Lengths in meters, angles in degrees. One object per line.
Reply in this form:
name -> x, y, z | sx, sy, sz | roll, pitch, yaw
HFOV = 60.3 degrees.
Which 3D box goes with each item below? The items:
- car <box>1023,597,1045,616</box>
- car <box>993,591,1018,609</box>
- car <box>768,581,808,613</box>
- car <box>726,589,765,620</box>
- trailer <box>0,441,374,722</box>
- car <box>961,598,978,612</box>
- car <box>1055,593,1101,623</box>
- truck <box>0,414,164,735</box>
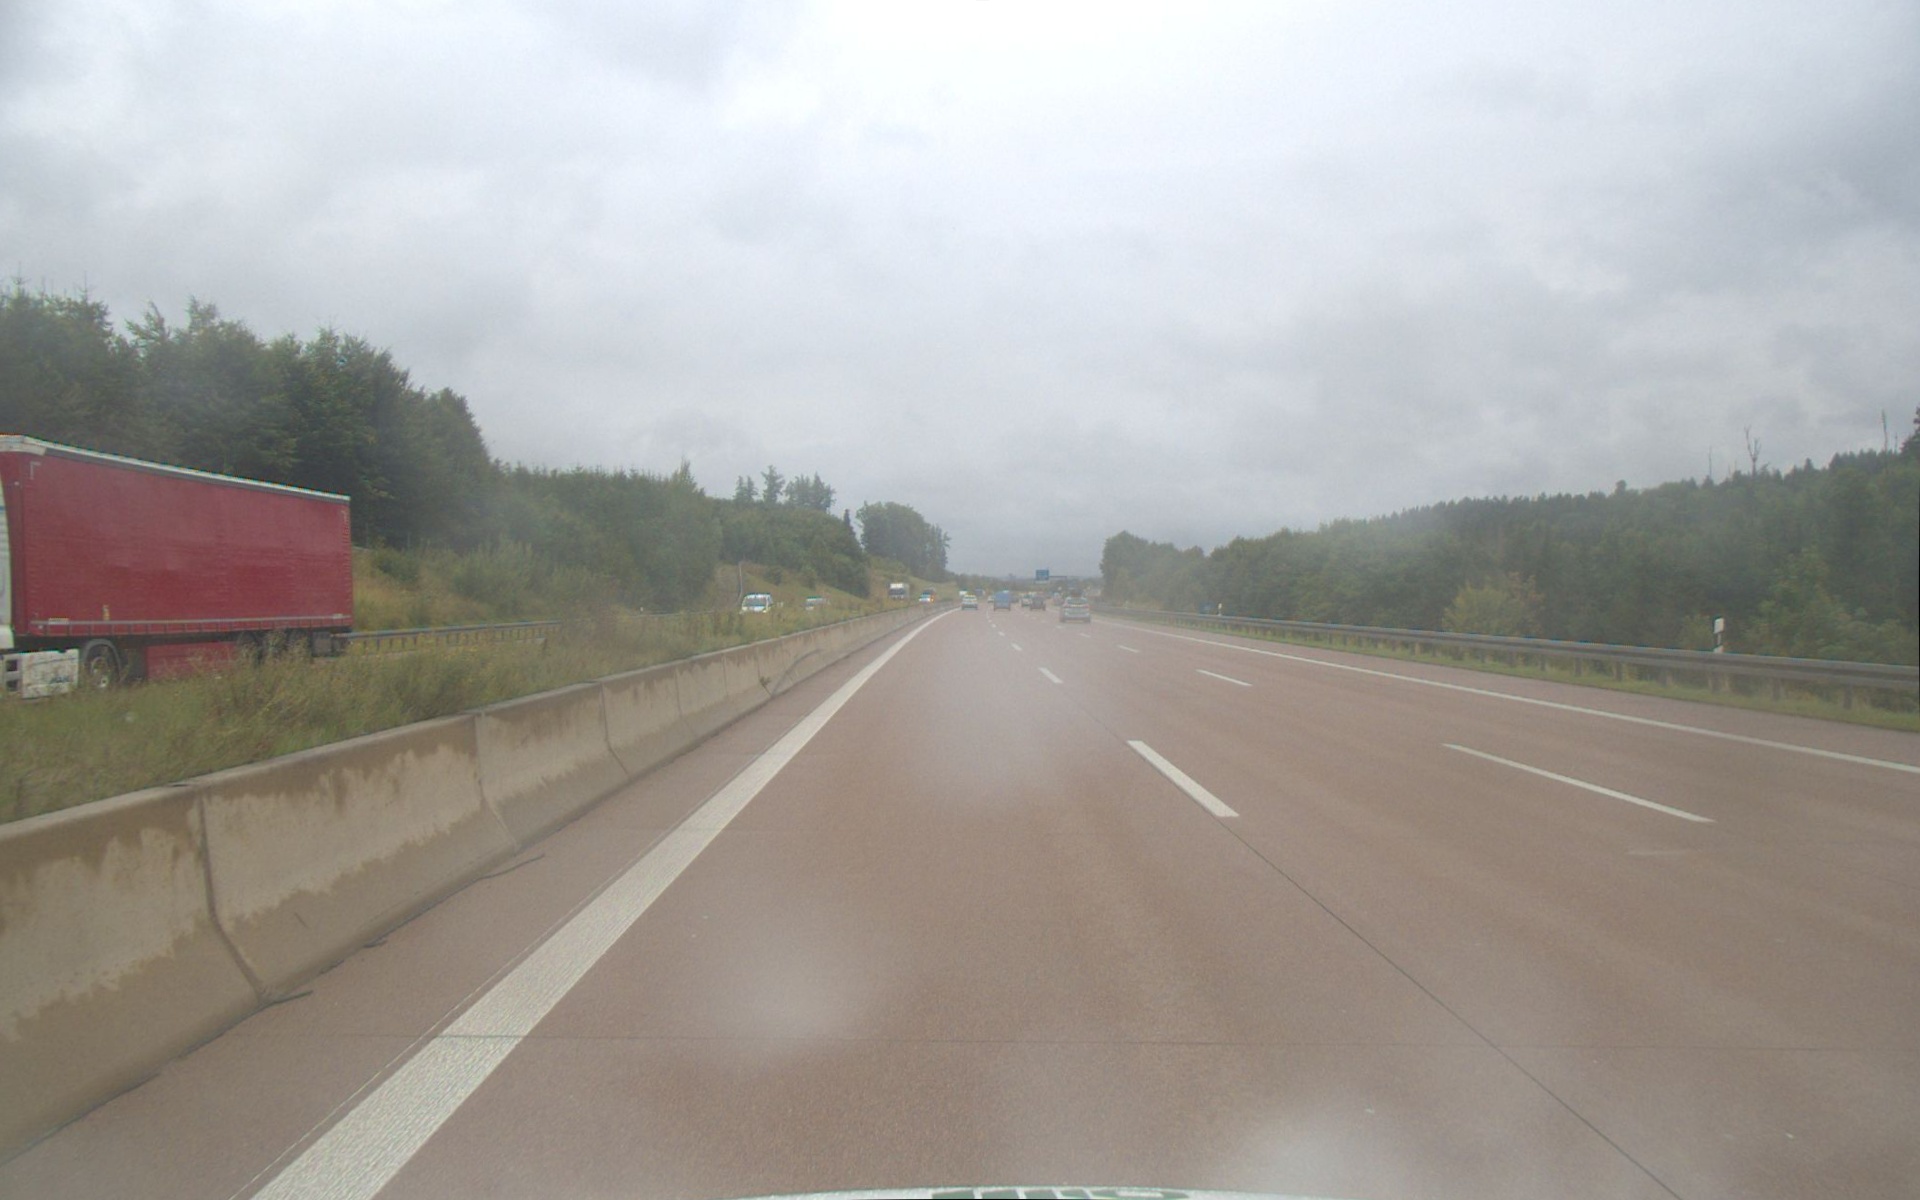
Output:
car -> 8.281, 0.698, 185.645 | 1.954, 2.049, 3.997 | 1, -1, -3
car -> 4.876, 0.042, 178.164 | 2.276, 1.780, 4.873 | 1, -1, -3
car -> -9.440, -0.145, 91.081 | 1.643, 1.676, 4.444 | 1, -1, 0
car -> -12.915, 0.311, 99.919 | 1.698, 1.752, 4.762 | 1, -1, 0
trailer -> -15.233, -0.215, 33.059 | 2.881, 4.567, 11.772 | 1, -1, -1
car -> 1.039, 0.620, 185.719 | 1.835, 1.470, 4.876 | 1, -1, 0
car -> 7.313, 0.528, 102.898 | 2.276, 1.780, 4.873 | 1, -1, -3
truck -> -15.097, -0.355, 24.892 | 2.890, 4.556, 6.790 | 1, -1, -1
